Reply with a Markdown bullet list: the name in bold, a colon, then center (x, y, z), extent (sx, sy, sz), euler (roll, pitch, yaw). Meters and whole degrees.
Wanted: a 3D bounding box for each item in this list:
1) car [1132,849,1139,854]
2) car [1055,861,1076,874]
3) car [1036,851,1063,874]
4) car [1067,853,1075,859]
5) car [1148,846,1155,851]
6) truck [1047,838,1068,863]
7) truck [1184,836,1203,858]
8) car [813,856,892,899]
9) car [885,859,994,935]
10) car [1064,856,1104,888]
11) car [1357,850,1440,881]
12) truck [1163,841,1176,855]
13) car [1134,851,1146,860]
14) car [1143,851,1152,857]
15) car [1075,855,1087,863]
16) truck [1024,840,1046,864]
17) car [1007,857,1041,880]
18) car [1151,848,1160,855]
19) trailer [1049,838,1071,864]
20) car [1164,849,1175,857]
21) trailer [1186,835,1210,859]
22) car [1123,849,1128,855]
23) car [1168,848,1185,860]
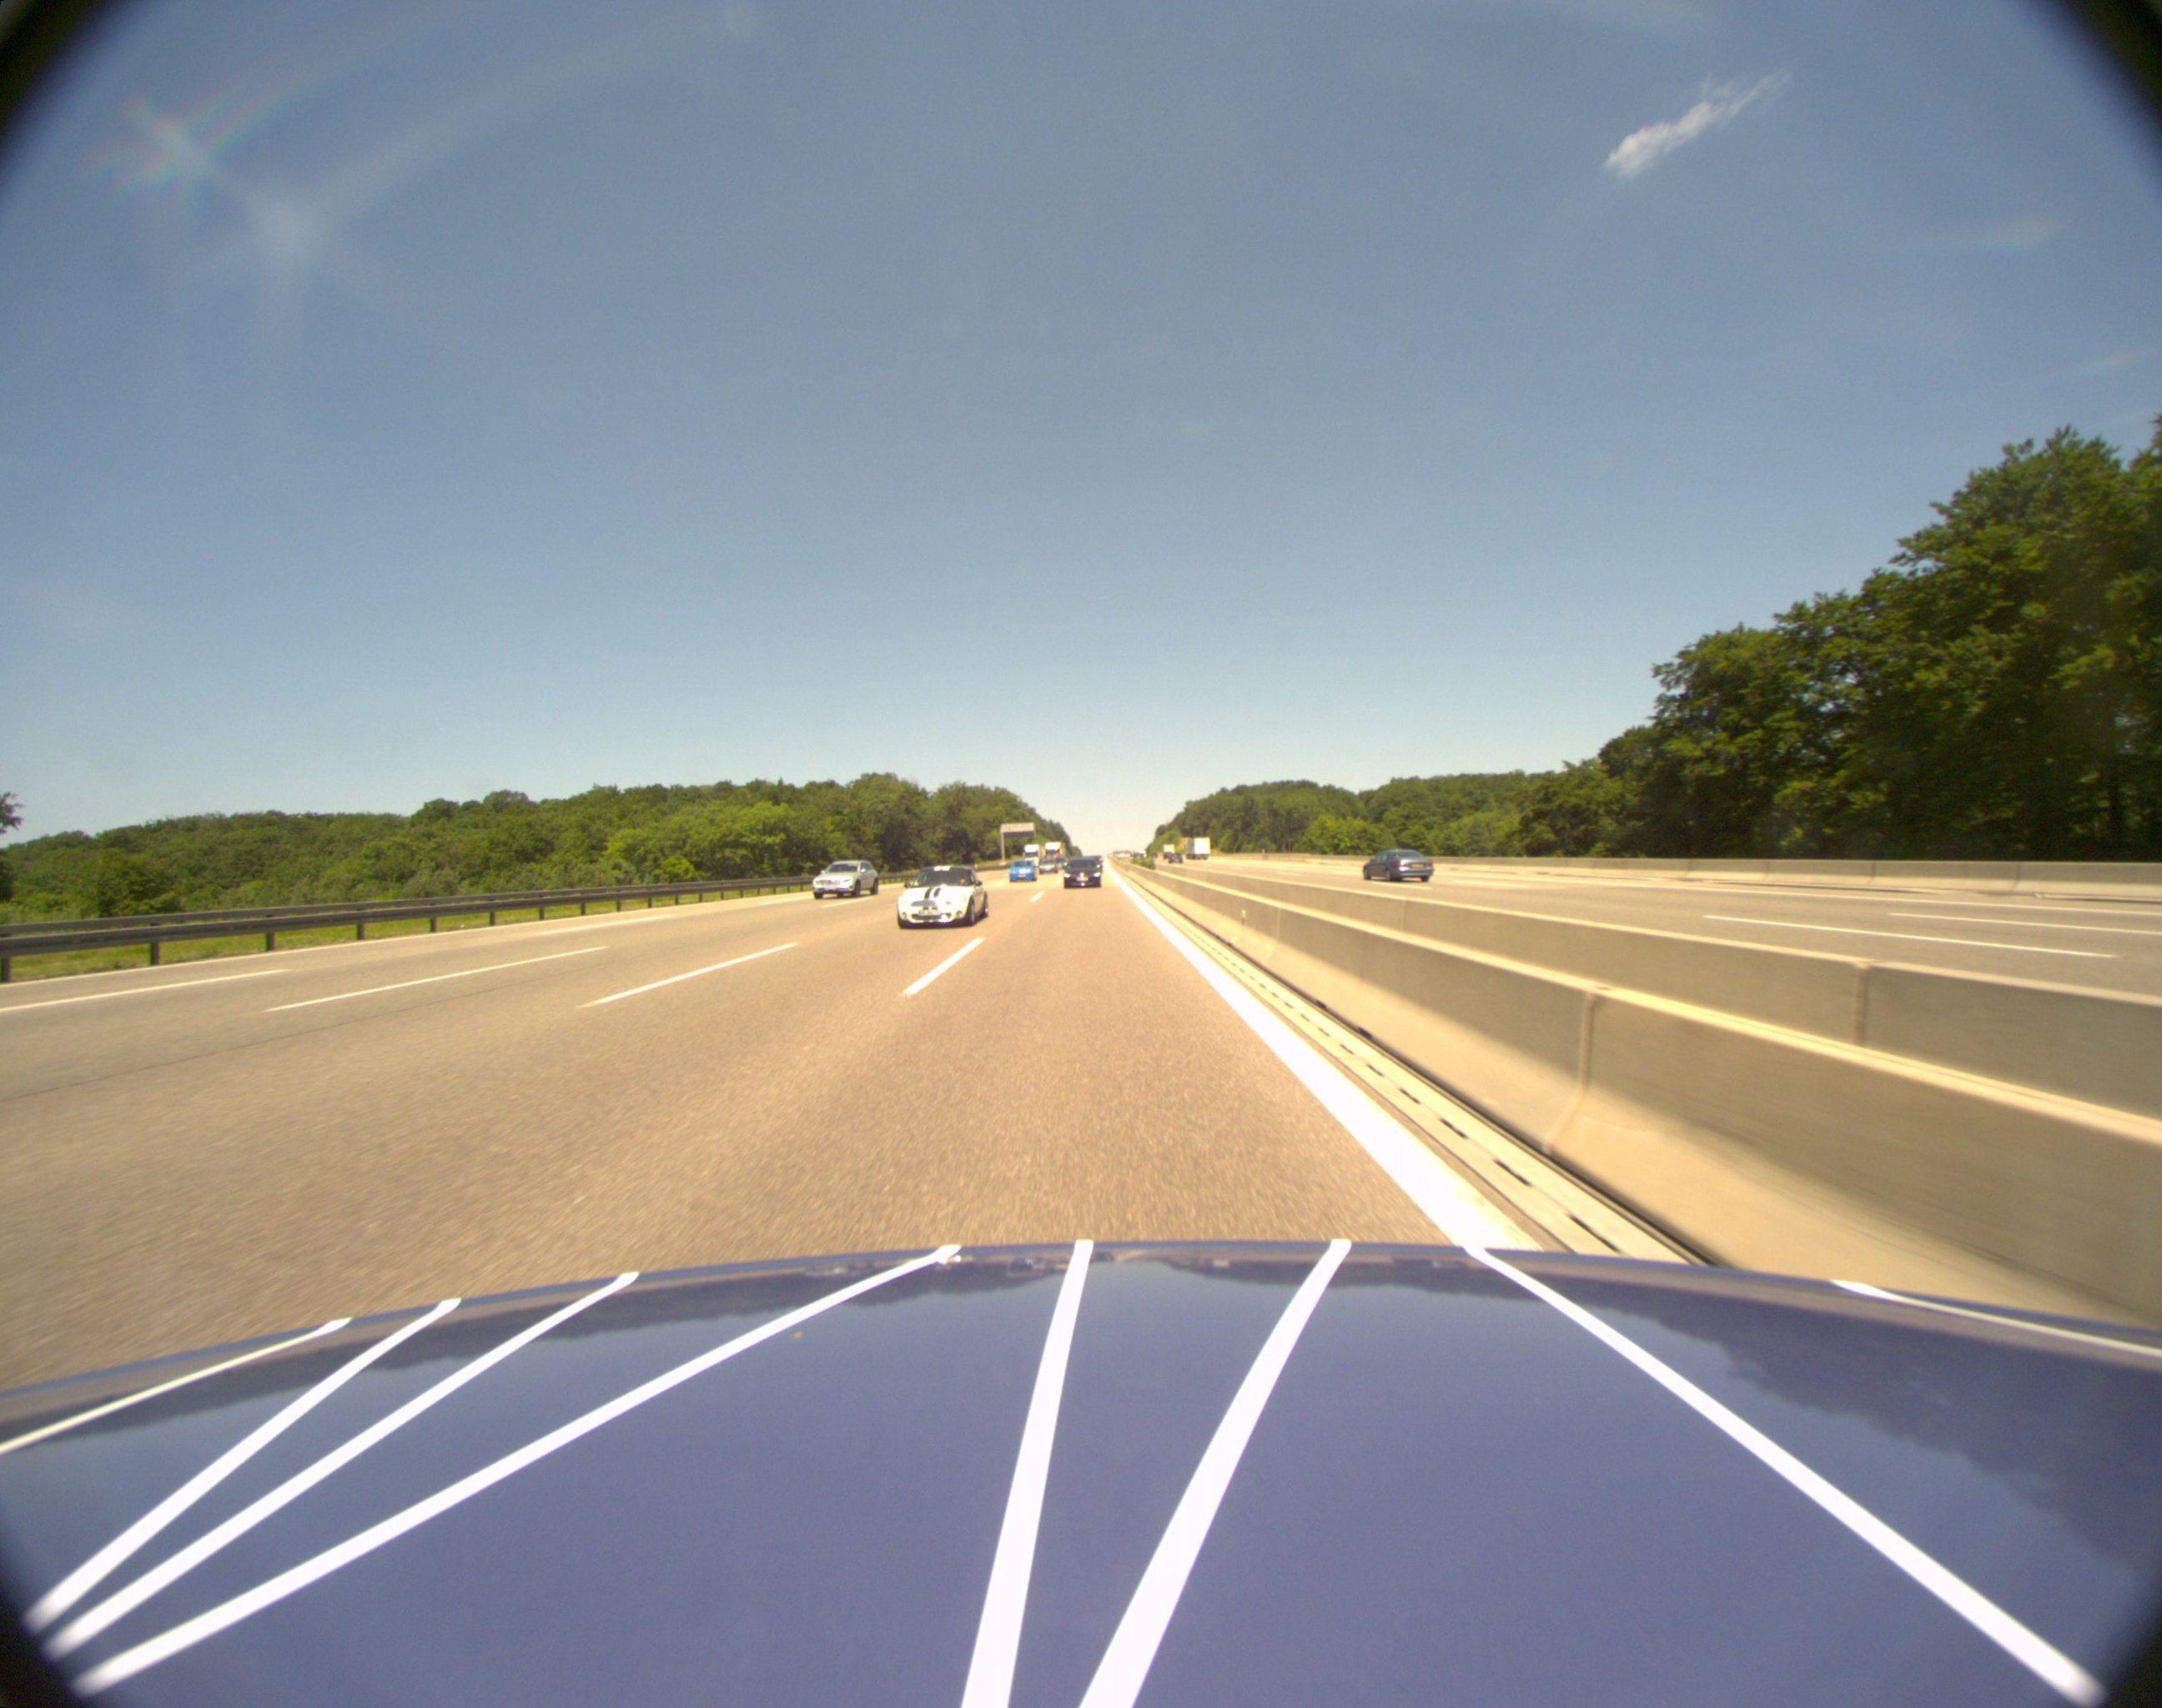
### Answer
- **car**: center (19.113, -0.804, 266.730), extent (1.998, 1.724, 4.926), euler (-2, -1, 2)
- **car**: center (-1.752, 1.612, 89.588), extent (1.971, 1.444, 5.226), euler (-3, -1, 3)
- **car**: center (-2.973, 0.772, 72.240), extent (1.966, 2.041, 4.785), euler (-4, 0, 3)
- **car**: center (-2.680, 0.490, 207.809), extent (1.910, 1.503, 4.161), euler (-4, -1, 3)
- **car**: center (21.194, -1.562, 229.969), extent (1.802, 1.368, 4.532), euler (-1, 0, 2)
- **truck**: center (-4.015, -0.614, 131.547), extent (3.018, 3.957, 7.542), euler (-4, -1, 2)
- **truck**: center (22.007, -1.302, 148.871), extent (2.721, 4.076, 7.877), euler (-1, 0, 2)
- **car**: center (-10.361, 1.037, 34.906), extent (1.805, 1.720, 5.240), euler (-4, -1, 2)
- **car**: center (-3.285, 0.939, 18.443), extent (1.846, 1.543, 3.999), euler (-2, 1, 0)
- **car**: center (0.208, 0.827, 37.422), extent (1.777, 1.425, 4.144), euler (-2, 0, 2)
- **car**: center (14.534, 0.472, 35.088), extent (1.836, 1.293, 4.729), euler (-1, 0, 1)
- **truck**: center (24.462, -1.617, 209.510), extent (2.545, 3.550, 8.578), euler (-2, 0, 1)
- **car**: center (10.173, 0.209, 130.560), extent (1.836, 1.559, 4.786), euler (-2, 0, 2)
- **car**: center (16.090, 0.005, 183.512), extent (1.802, 1.472, 4.721), euler (-2, 0, 2)
- **car**: center (-0.001, 0.946, 146.171), extent (1.910, 1.503, 4.161), euler (-4, -1, 3)
- **truck**: center (-8.479, -0.349, 142.437), extent (2.728, 4.135, 10.972), euler (-4, -1, 2)
- **car**: center (-3.758, 0.928, 50.574), extent (1.741, 1.403, 4.001), euler (-3, 0, 2)
- **car**: center (19.755, -0.627, 201.302), extent (1.802, 1.472, 4.399), euler (7, -2, 2)
- **trailer**: center (-3.678, -0.423, 138.858), extent (2.926, 4.118, 14.853), euler (-3, -1, 2)
- **car**: center (18.285, -0.249, 157.848), extent (1.802, 1.633, 5.079), euler (-1, 0, 2)
- **trailer**: center (21.863, -1.321, 142.512), extent (2.649, 4.200, 14.362), euler (-1, 0, 2)
- **car**: center (15.484, -0.722, 263.960), extent (1.778, 1.868, 5.212), euler (-4, -1, 3)
- **car**: center (12.940, -0.045, 103.361), extent (1.771, 1.469, 4.481), euler (-2, 0, 2)
